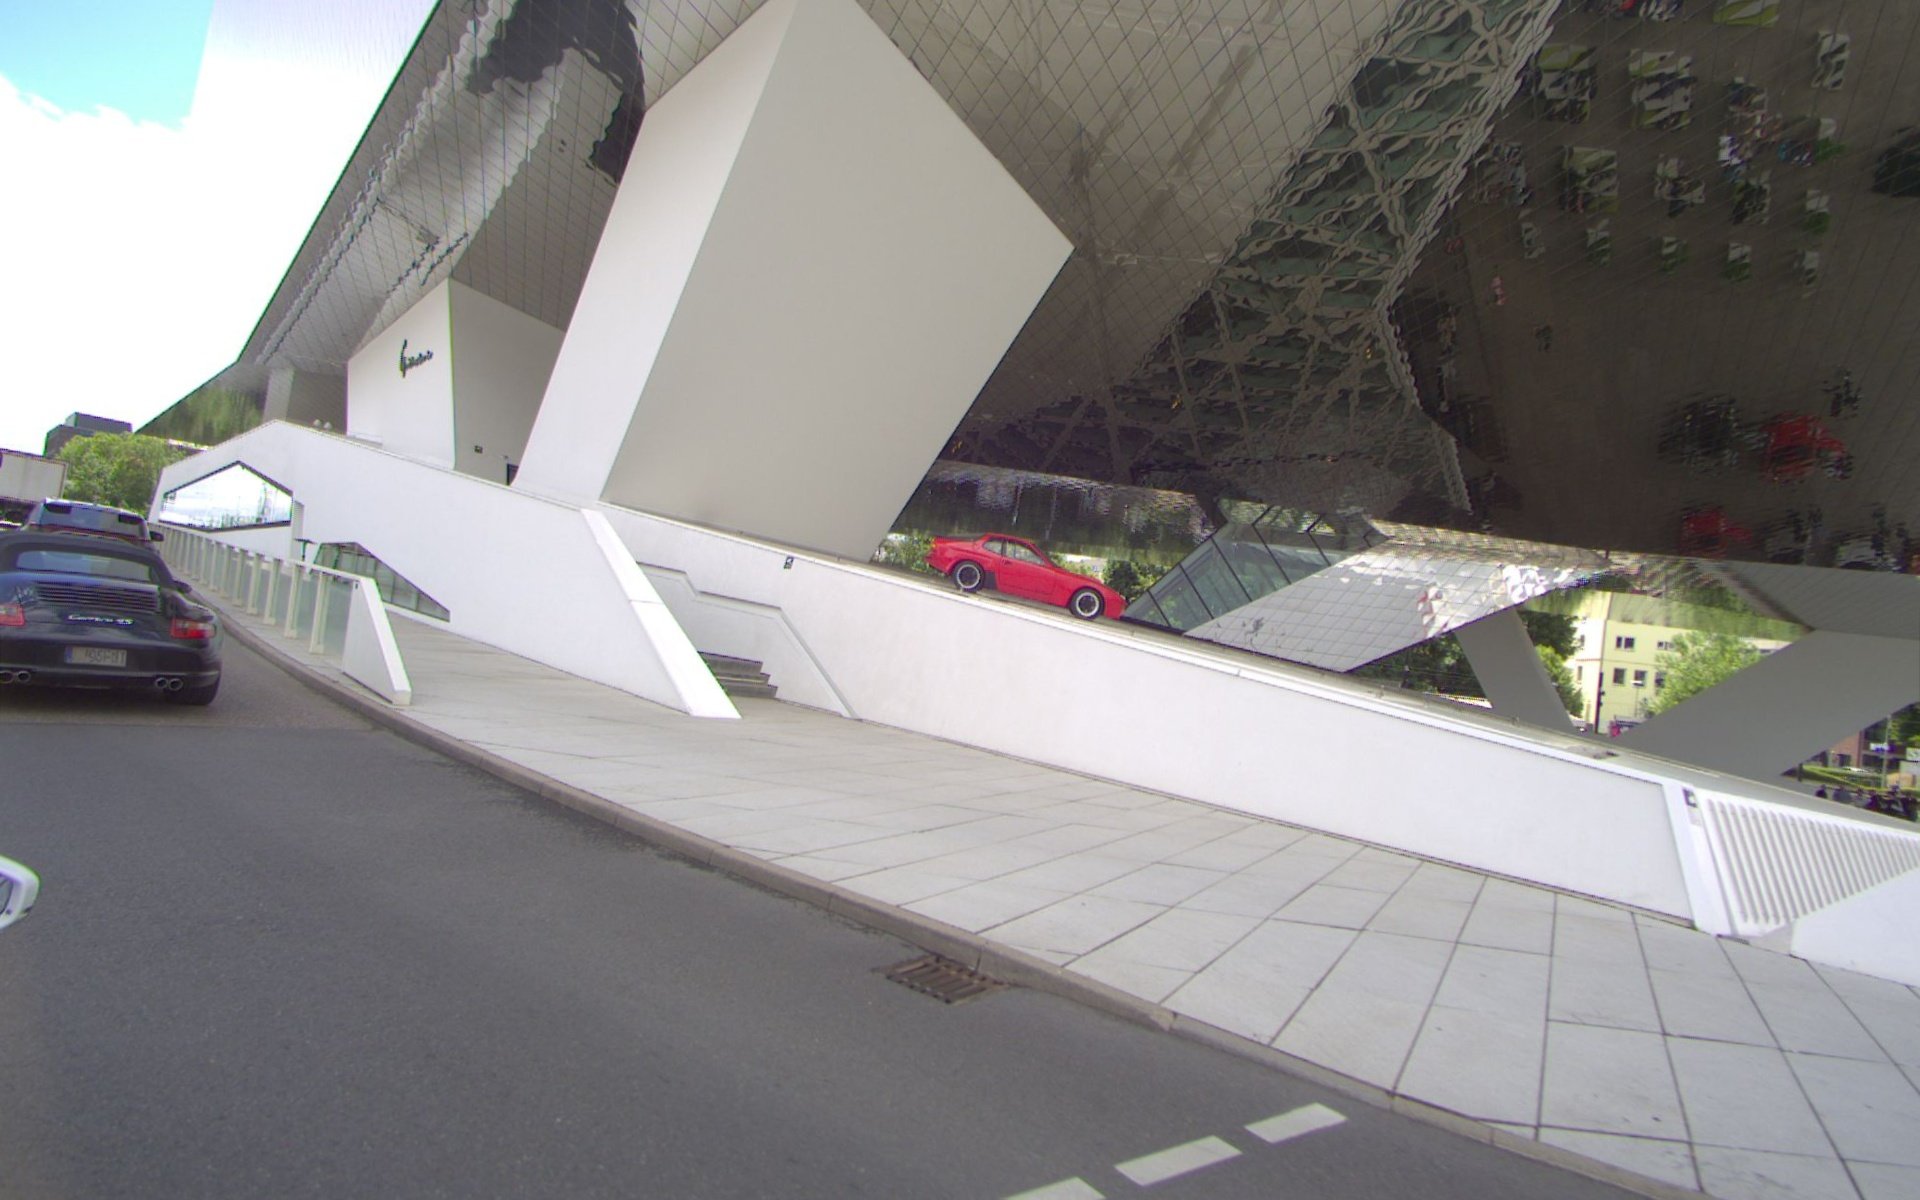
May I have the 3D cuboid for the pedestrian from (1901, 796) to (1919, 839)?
[{"bbox_3d":[41.654,9.505,43.826,0.764,1.757,0.827,4,-4,33],"label":"pedestrian"}]

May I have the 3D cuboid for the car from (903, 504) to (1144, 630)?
[{"bbox_3d":[1.277,-0.632,20.286,4.432,1.411,2.000,14,1,4],"label":"car"}]

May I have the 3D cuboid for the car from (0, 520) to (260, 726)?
[{"bbox_3d":[-7.837,0.088,8.813,3.945,1.340,1.833,7,-2,42],"label":"car"}]

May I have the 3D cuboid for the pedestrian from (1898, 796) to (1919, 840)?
[{"bbox_3d":[40.646,9.289,42.839,0.764,1.757,0.828,5,-4,30],"label":"pedestrian"}]

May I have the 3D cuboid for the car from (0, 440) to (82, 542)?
[{"bbox_3d":[-42.333,-4.801,45.505,3.328,3.540,9.236,11,-6,-42],"label":"car"}]

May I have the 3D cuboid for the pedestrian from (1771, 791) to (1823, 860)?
[{"bbox_3d":[21.456,5.765,25.809,0.910,1.589,0.828,4,-5,39],"label":"pedestrian"}]

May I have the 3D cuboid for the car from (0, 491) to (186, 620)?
[{"bbox_3d":[-14.679,-0.803,16.985,1.990,1.654,3.950,11,-3,-43],"label":"car"}]

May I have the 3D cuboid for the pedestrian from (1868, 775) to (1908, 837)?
[{"bbox_3d":[32.741,7.239,35.487,0.764,2.035,0.828,5,-4,30],"label":"pedestrian"}]
